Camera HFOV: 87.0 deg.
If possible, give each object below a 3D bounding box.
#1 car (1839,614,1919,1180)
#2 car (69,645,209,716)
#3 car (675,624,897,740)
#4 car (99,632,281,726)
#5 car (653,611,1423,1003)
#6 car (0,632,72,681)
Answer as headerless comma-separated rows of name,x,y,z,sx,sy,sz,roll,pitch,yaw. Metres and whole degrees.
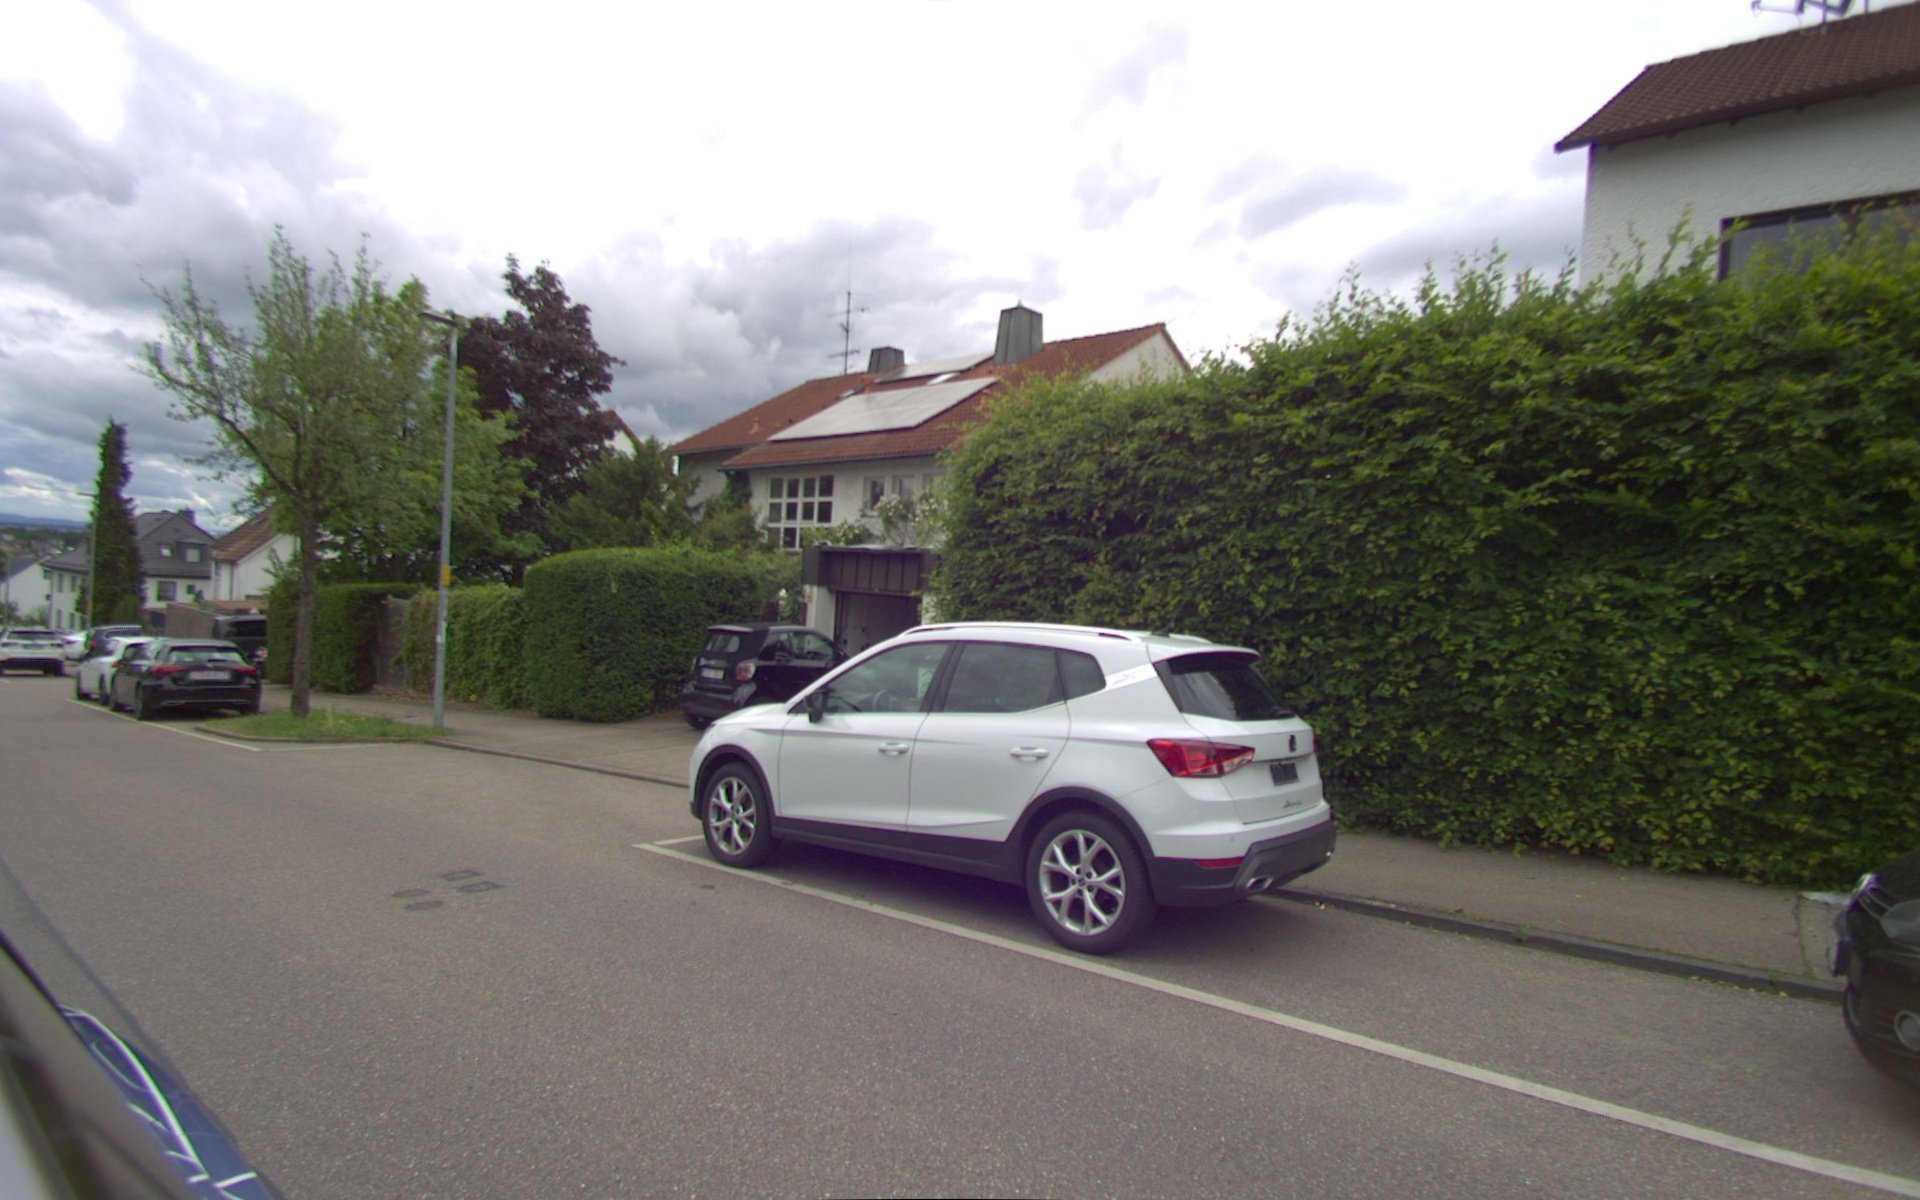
car,4.827,0.846,1.922,4.736,1.501,1.763,-1,-6,41
car,-18.131,1.709,22.285,3.998,1.386,1.703,-1,-3,41
car,-2.488,1.130,14.797,2.848,1.517,1.500,3,-3,-45
car,-14.503,1.404,18.995,4.003,1.561,1.919,-2,-3,41
car,0.197,0.872,6.049,4.340,1.501,1.866,-1,-3,41
car,-31.746,1.871,34.329,3.998,1.542,1.910,-1,-3,42
